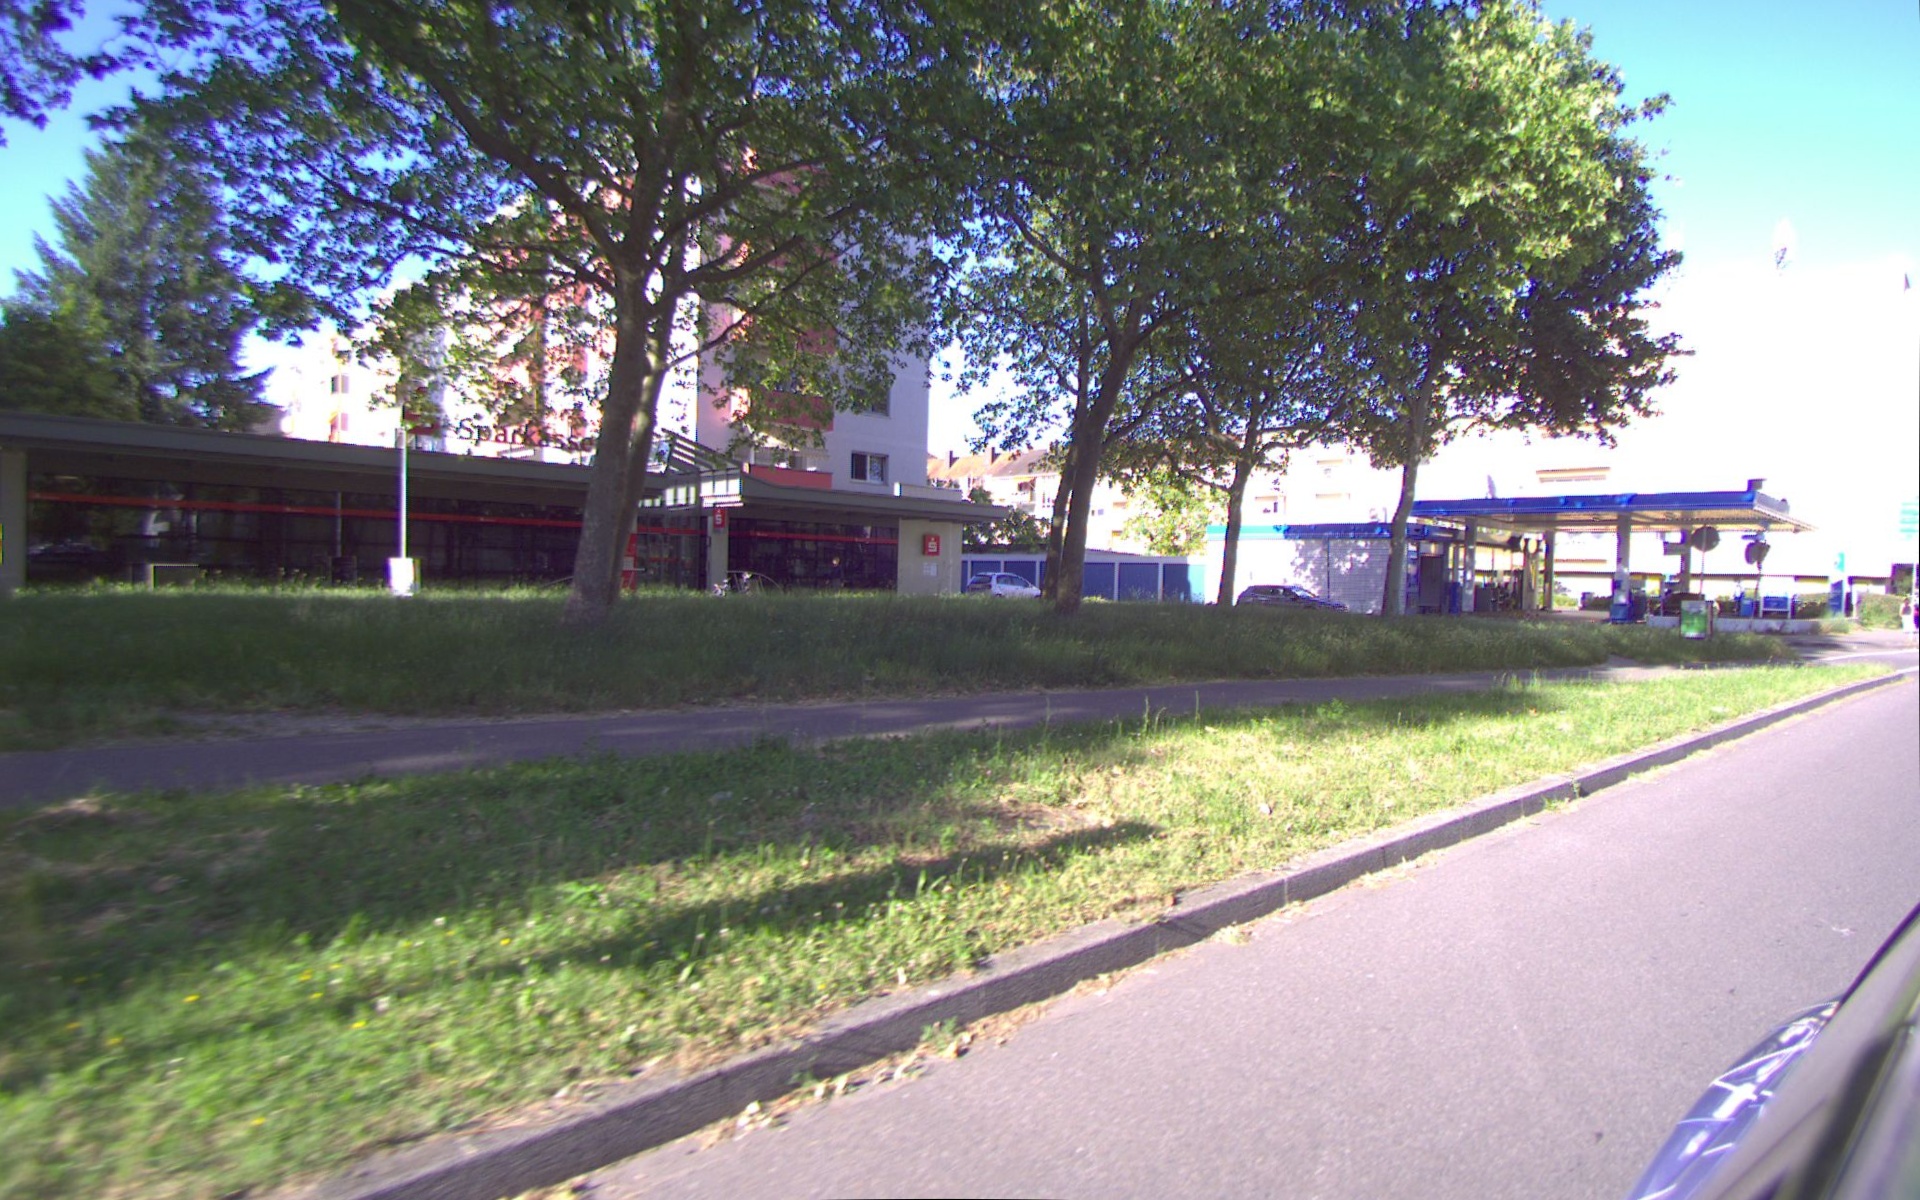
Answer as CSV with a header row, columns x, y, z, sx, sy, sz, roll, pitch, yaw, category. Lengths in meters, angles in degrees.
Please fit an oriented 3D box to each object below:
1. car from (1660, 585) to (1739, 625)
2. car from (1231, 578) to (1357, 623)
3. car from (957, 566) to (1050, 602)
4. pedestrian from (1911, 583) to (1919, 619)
x,y,z,sx,sy,sz,roll,pitch,yaw,category
30.107,0.195,41.158,3.935,1.481,1.724,0,2,-41,car
12.766,-0.005,38.859,1.949,1.550,4.198,0,2,-42,car
1.982,-0.699,45.432,4.043,1.522,1.873,0,2,-42,car
46.574,0.060,49.003,0.542,1.723,0.606,1,1,-36,pedestrian
